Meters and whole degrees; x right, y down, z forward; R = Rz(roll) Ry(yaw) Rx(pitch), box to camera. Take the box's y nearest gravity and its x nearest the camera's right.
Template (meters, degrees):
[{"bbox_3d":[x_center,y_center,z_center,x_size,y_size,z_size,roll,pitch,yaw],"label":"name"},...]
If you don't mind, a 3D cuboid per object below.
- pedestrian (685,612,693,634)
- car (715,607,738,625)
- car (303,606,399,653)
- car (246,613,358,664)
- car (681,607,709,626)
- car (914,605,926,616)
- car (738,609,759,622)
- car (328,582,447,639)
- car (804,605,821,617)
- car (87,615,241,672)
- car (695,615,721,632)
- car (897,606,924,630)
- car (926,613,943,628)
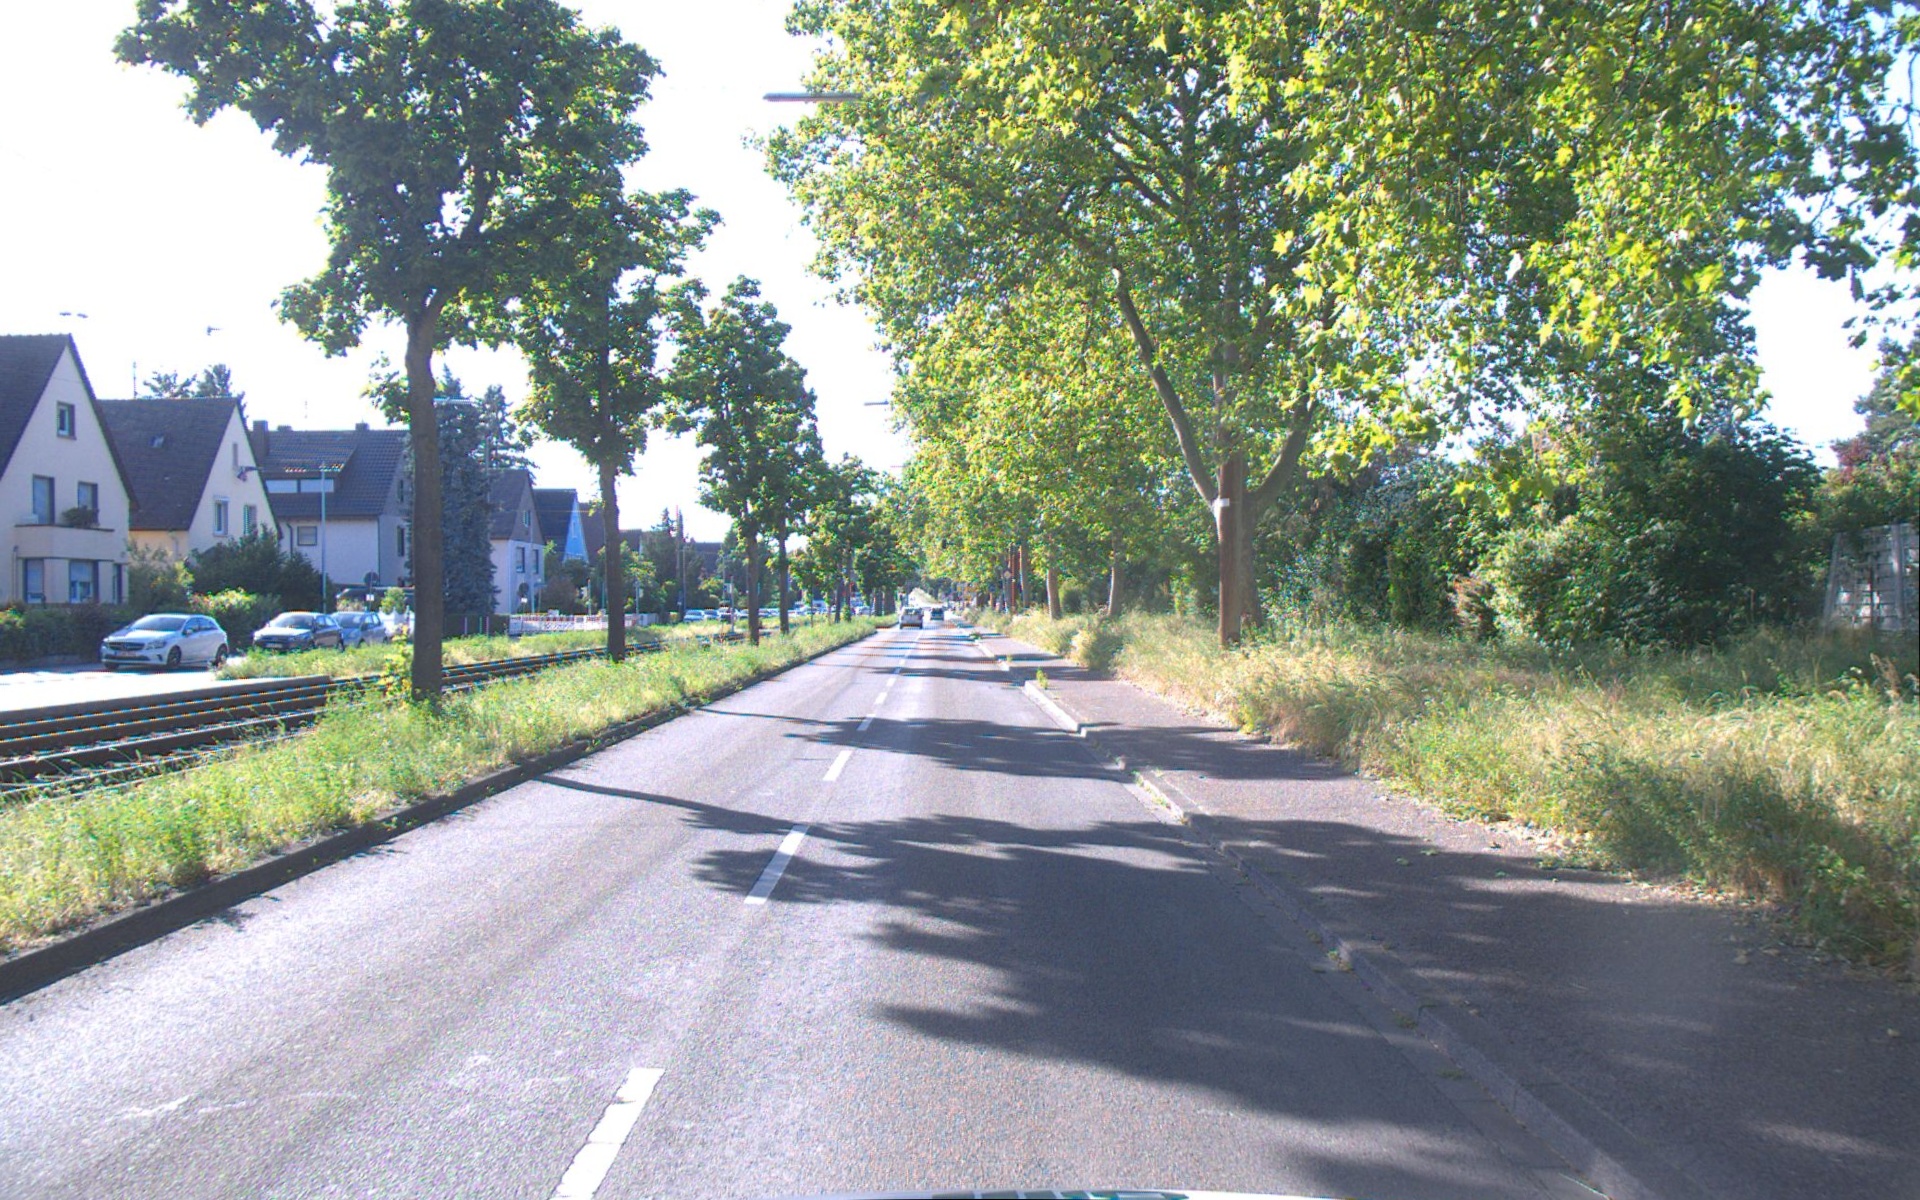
[{"bbox_3d":[-25.257,2.183,154.174,0.667,2.049,0.772,0,-1,-1],"label":"pedestrian"},{"bbox_3d":[-22.857,1.578,162.094,1.712,1.679,4.554,0,0,-1],"label":"car"},{"bbox_3d":[-21.395,1.006,58.238,1.907,1.581,4.055,0,0,-1],"label":"car"},{"bbox_3d":[-21.142,1.213,53.301,1.953,1.475,4.127,3,0,-1],"label":"car"},{"bbox_3d":[-22.755,1.396,141.995,1.822,1.569,4.226,0,0,-1],"label":"car"},{"bbox_3d":[-6.217,1.608,258.060,1.953,1.632,4.472,0,0,-1],"label":"car"},{"bbox_3d":[-23.172,1.677,181.361,1.822,1.393,4.226,0,0,-1],"label":"car"},{"bbox_3d":[-27.367,0.486,79.208,4.926,2.671,2.102,-1,0,-1],"label":"car"},{"bbox_3d":[-19.652,1.499,220.677,1.953,1.632,4.472,0,0,-1],"label":"car"},{"bbox_3d":[-21.325,1.131,44.535,1.952,1.451,4.410,0,0,1],"label":"car"},{"bbox_3d":[-22.946,2.128,150.838,1.694,1.491,4.601,0,0,-1],"label":"car"},{"bbox_3d":[-3.402,1.234,114.532,1.822,1.629,4.226,0,0,-1],"label":"car"},{"bbox_3d":[-2.934,2.318,188.583,1.953,1.632,4.472,0,0,-1],"label":"car"}]
